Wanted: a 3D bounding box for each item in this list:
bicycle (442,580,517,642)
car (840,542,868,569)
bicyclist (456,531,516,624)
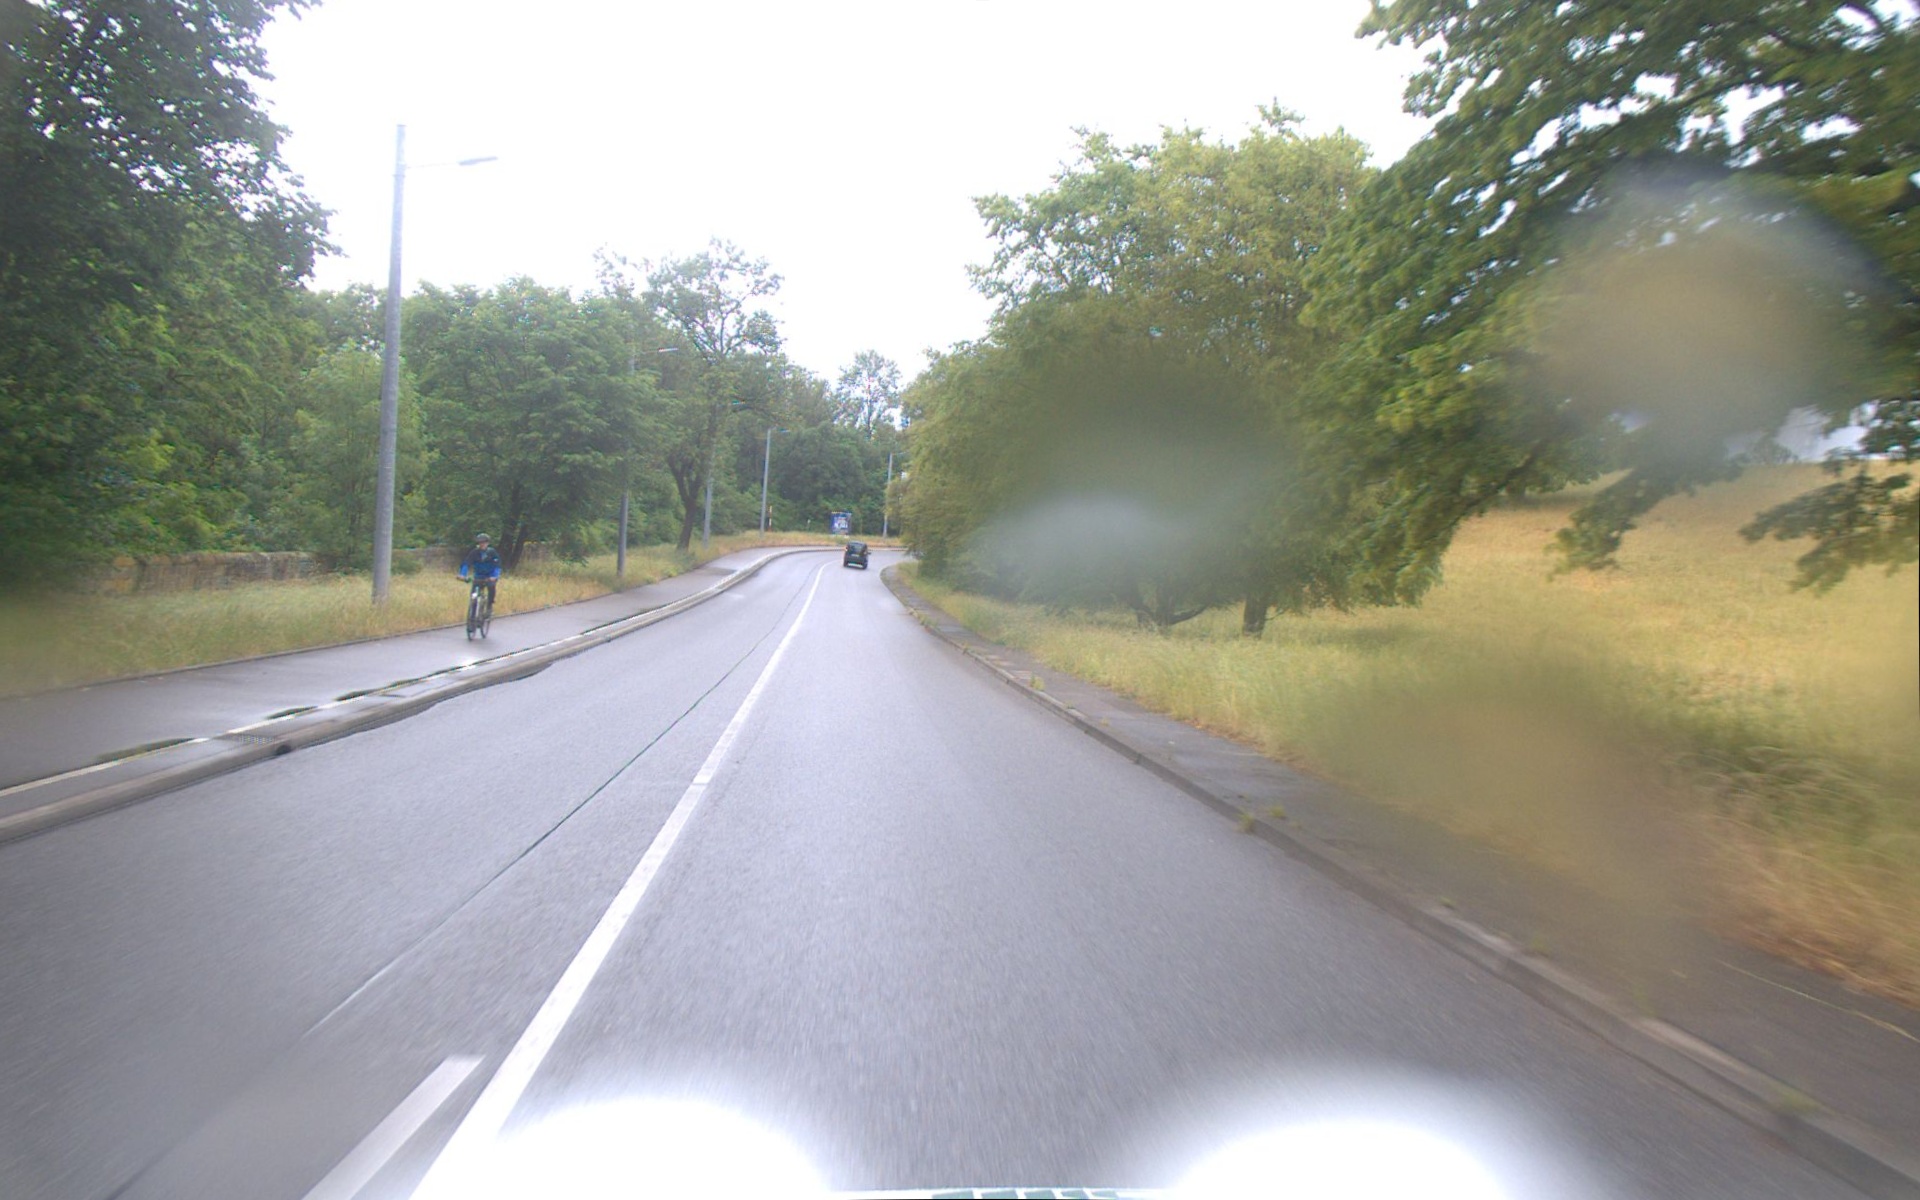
[{"bbox_3d":[-8.538,0.175,29.497,0.710,0.958,2.548,5,1,-5],"label":"bicycle"},{"bbox_3d":[-7.635,-3.225,119.426,1.706,1.746,4.000,5,1,0],"label":"car"},{"bbox_3d":[-8.483,-0.411,29.633,0.695,1.582,1.170,5,1,-5],"label":"bicyclist"}]
